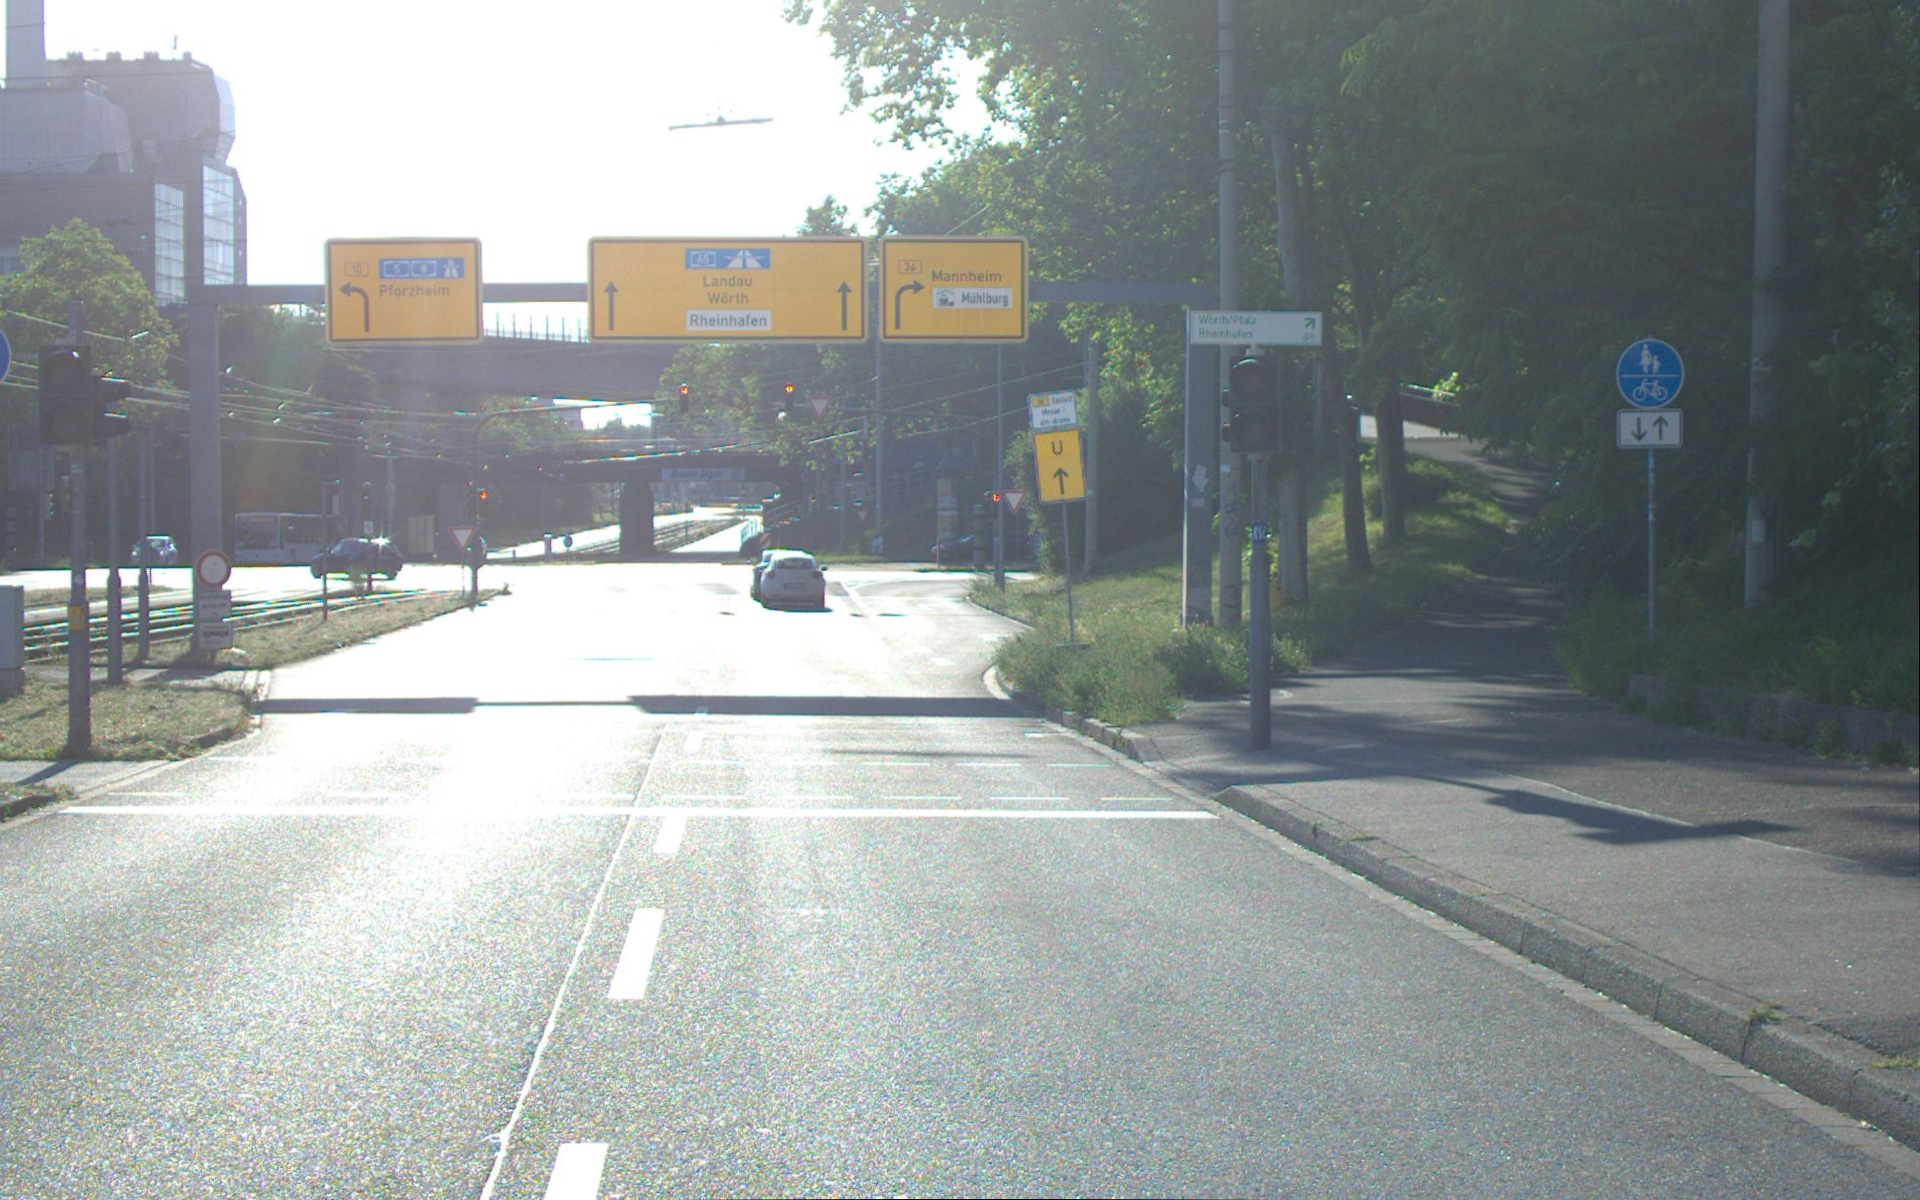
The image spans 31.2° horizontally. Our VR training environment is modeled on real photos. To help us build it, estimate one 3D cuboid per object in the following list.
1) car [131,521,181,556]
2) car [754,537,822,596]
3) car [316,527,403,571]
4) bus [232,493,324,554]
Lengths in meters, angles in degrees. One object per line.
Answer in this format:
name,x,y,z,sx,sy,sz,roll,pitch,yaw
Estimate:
car,-36.527,-2.799,156.197,1.606,1.507,4.009,1,2,-5
car,-4.707,-0.923,93.679,1.736,1.500,4.001,0,2,-4
car,-21.789,-1.863,124.705,1.736,1.500,4.000,-1,2,-32
bus,-36.871,-4.088,186.320,2.543,3.119,12.918,0,0,0
